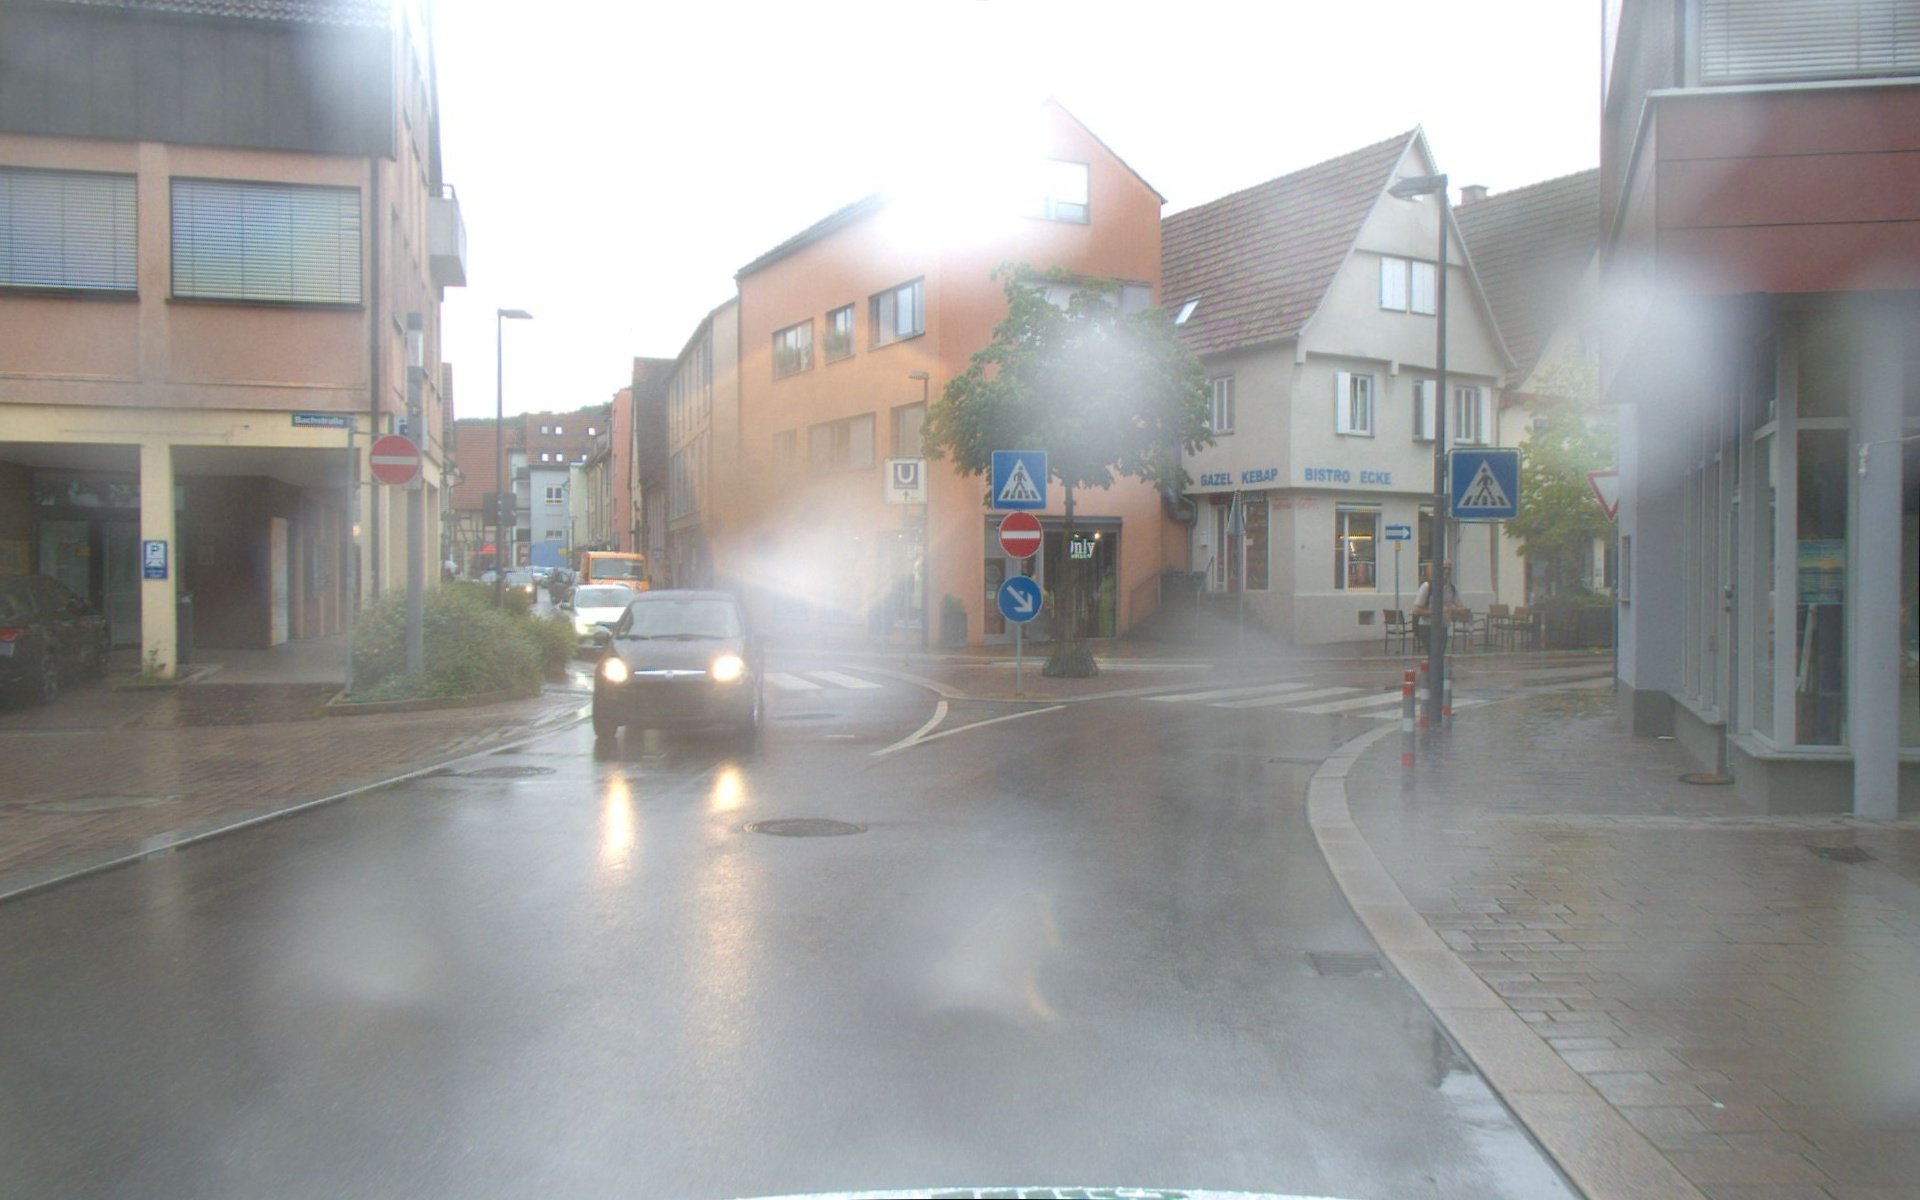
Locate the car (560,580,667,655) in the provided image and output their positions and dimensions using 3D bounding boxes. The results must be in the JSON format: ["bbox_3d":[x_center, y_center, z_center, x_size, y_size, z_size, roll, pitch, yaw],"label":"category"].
[{"bbox_3d":[-7.445,0.319,35.239,1.961,1.466,4.146,-1,1,-16],"label":"car"}]

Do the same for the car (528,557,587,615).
[{"bbox_3d":[-16.265,-0.549,66.637,2.070,2.184,4.846,-2,1,-16],"label":"car"}]

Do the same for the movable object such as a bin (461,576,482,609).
[{"bbox_3d":[-20.708,-0.323,70.131,0.822,1.406,0.849,-1,1,-20],"label":"movable object such as a bin"}]

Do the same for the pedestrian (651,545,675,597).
[{"bbox_3d":[-11.809,-1.137,65.749,0.853,2.049,0.704,0,0,-18],"label":"pedestrian"}]

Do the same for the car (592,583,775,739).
[{"bbox_3d":[-2.911,0.570,18.100,1.616,1.471,3.980,-2,1,-5],"label":"car"}]

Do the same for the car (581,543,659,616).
[{"bbox_3d":[-11.092,-0.637,53.687,2.070,2.184,4.846,-2,1,-16],"label":"car"}]

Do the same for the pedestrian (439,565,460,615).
[{"bbox_3d":[-21.373,-0.430,69.244,0.822,2.049,0.849,-1,1,-20],"label":"pedestrian"}]

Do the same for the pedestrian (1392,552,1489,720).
[{"bbox_3d":[5.722,0.413,19.712,0.750,1.948,0.852,0,0,-38],"label":"pedestrian"}]

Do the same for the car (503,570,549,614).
[{"bbox_3d":[-21.317,-0.410,81.324,1.959,2.048,4.349,-2,1,-12],"label":"car"}]

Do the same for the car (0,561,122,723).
[{"bbox_3d":[-11.355,0.415,19.589,1.550,1.504,3.815,0,5,-11],"label":"car"}]

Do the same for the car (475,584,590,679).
[{"bbox_3d":[-7.287,0.484,27.990,1.687,1.483,3.891,1,0,-17],"label":"car"}]
